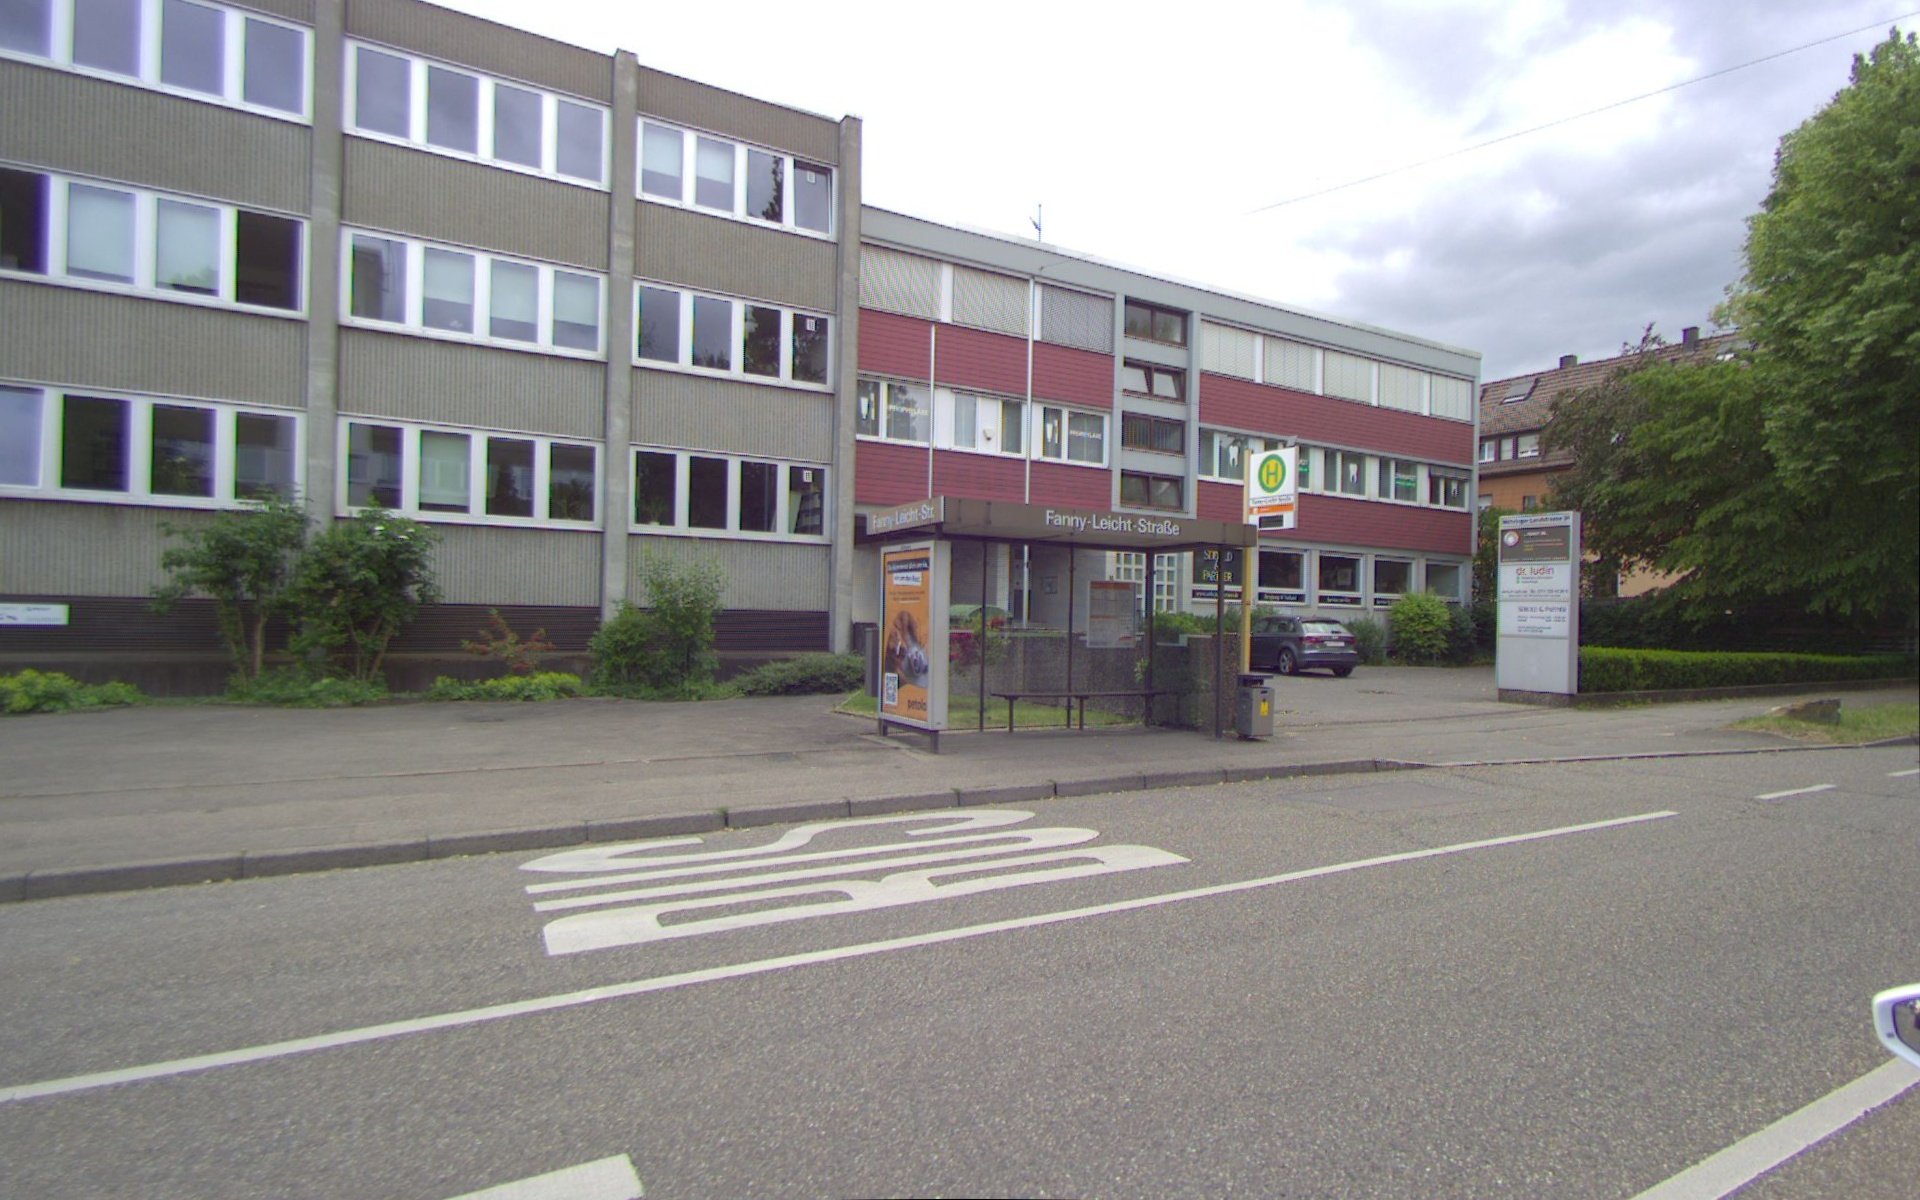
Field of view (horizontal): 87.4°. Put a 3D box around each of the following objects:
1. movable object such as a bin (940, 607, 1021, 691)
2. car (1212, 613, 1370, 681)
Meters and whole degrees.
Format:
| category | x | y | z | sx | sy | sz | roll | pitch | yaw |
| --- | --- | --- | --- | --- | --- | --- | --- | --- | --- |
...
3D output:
| category | x | y | z | sx | sy | sz | roll | pitch | yaw |
| --- | --- | --- | --- | --- | --- | --- | --- | --- | --- |
| movable object such as a bin | 0.375 | 0.886 | 18.788 | 0.981 | 1.484 | 1.292 | 1 | 0 | -29 |
| car | 8.164 | 1.123 | 25.193 | 1.782 | 1.499 | 4.138 | 1 | 0 | -15 |
